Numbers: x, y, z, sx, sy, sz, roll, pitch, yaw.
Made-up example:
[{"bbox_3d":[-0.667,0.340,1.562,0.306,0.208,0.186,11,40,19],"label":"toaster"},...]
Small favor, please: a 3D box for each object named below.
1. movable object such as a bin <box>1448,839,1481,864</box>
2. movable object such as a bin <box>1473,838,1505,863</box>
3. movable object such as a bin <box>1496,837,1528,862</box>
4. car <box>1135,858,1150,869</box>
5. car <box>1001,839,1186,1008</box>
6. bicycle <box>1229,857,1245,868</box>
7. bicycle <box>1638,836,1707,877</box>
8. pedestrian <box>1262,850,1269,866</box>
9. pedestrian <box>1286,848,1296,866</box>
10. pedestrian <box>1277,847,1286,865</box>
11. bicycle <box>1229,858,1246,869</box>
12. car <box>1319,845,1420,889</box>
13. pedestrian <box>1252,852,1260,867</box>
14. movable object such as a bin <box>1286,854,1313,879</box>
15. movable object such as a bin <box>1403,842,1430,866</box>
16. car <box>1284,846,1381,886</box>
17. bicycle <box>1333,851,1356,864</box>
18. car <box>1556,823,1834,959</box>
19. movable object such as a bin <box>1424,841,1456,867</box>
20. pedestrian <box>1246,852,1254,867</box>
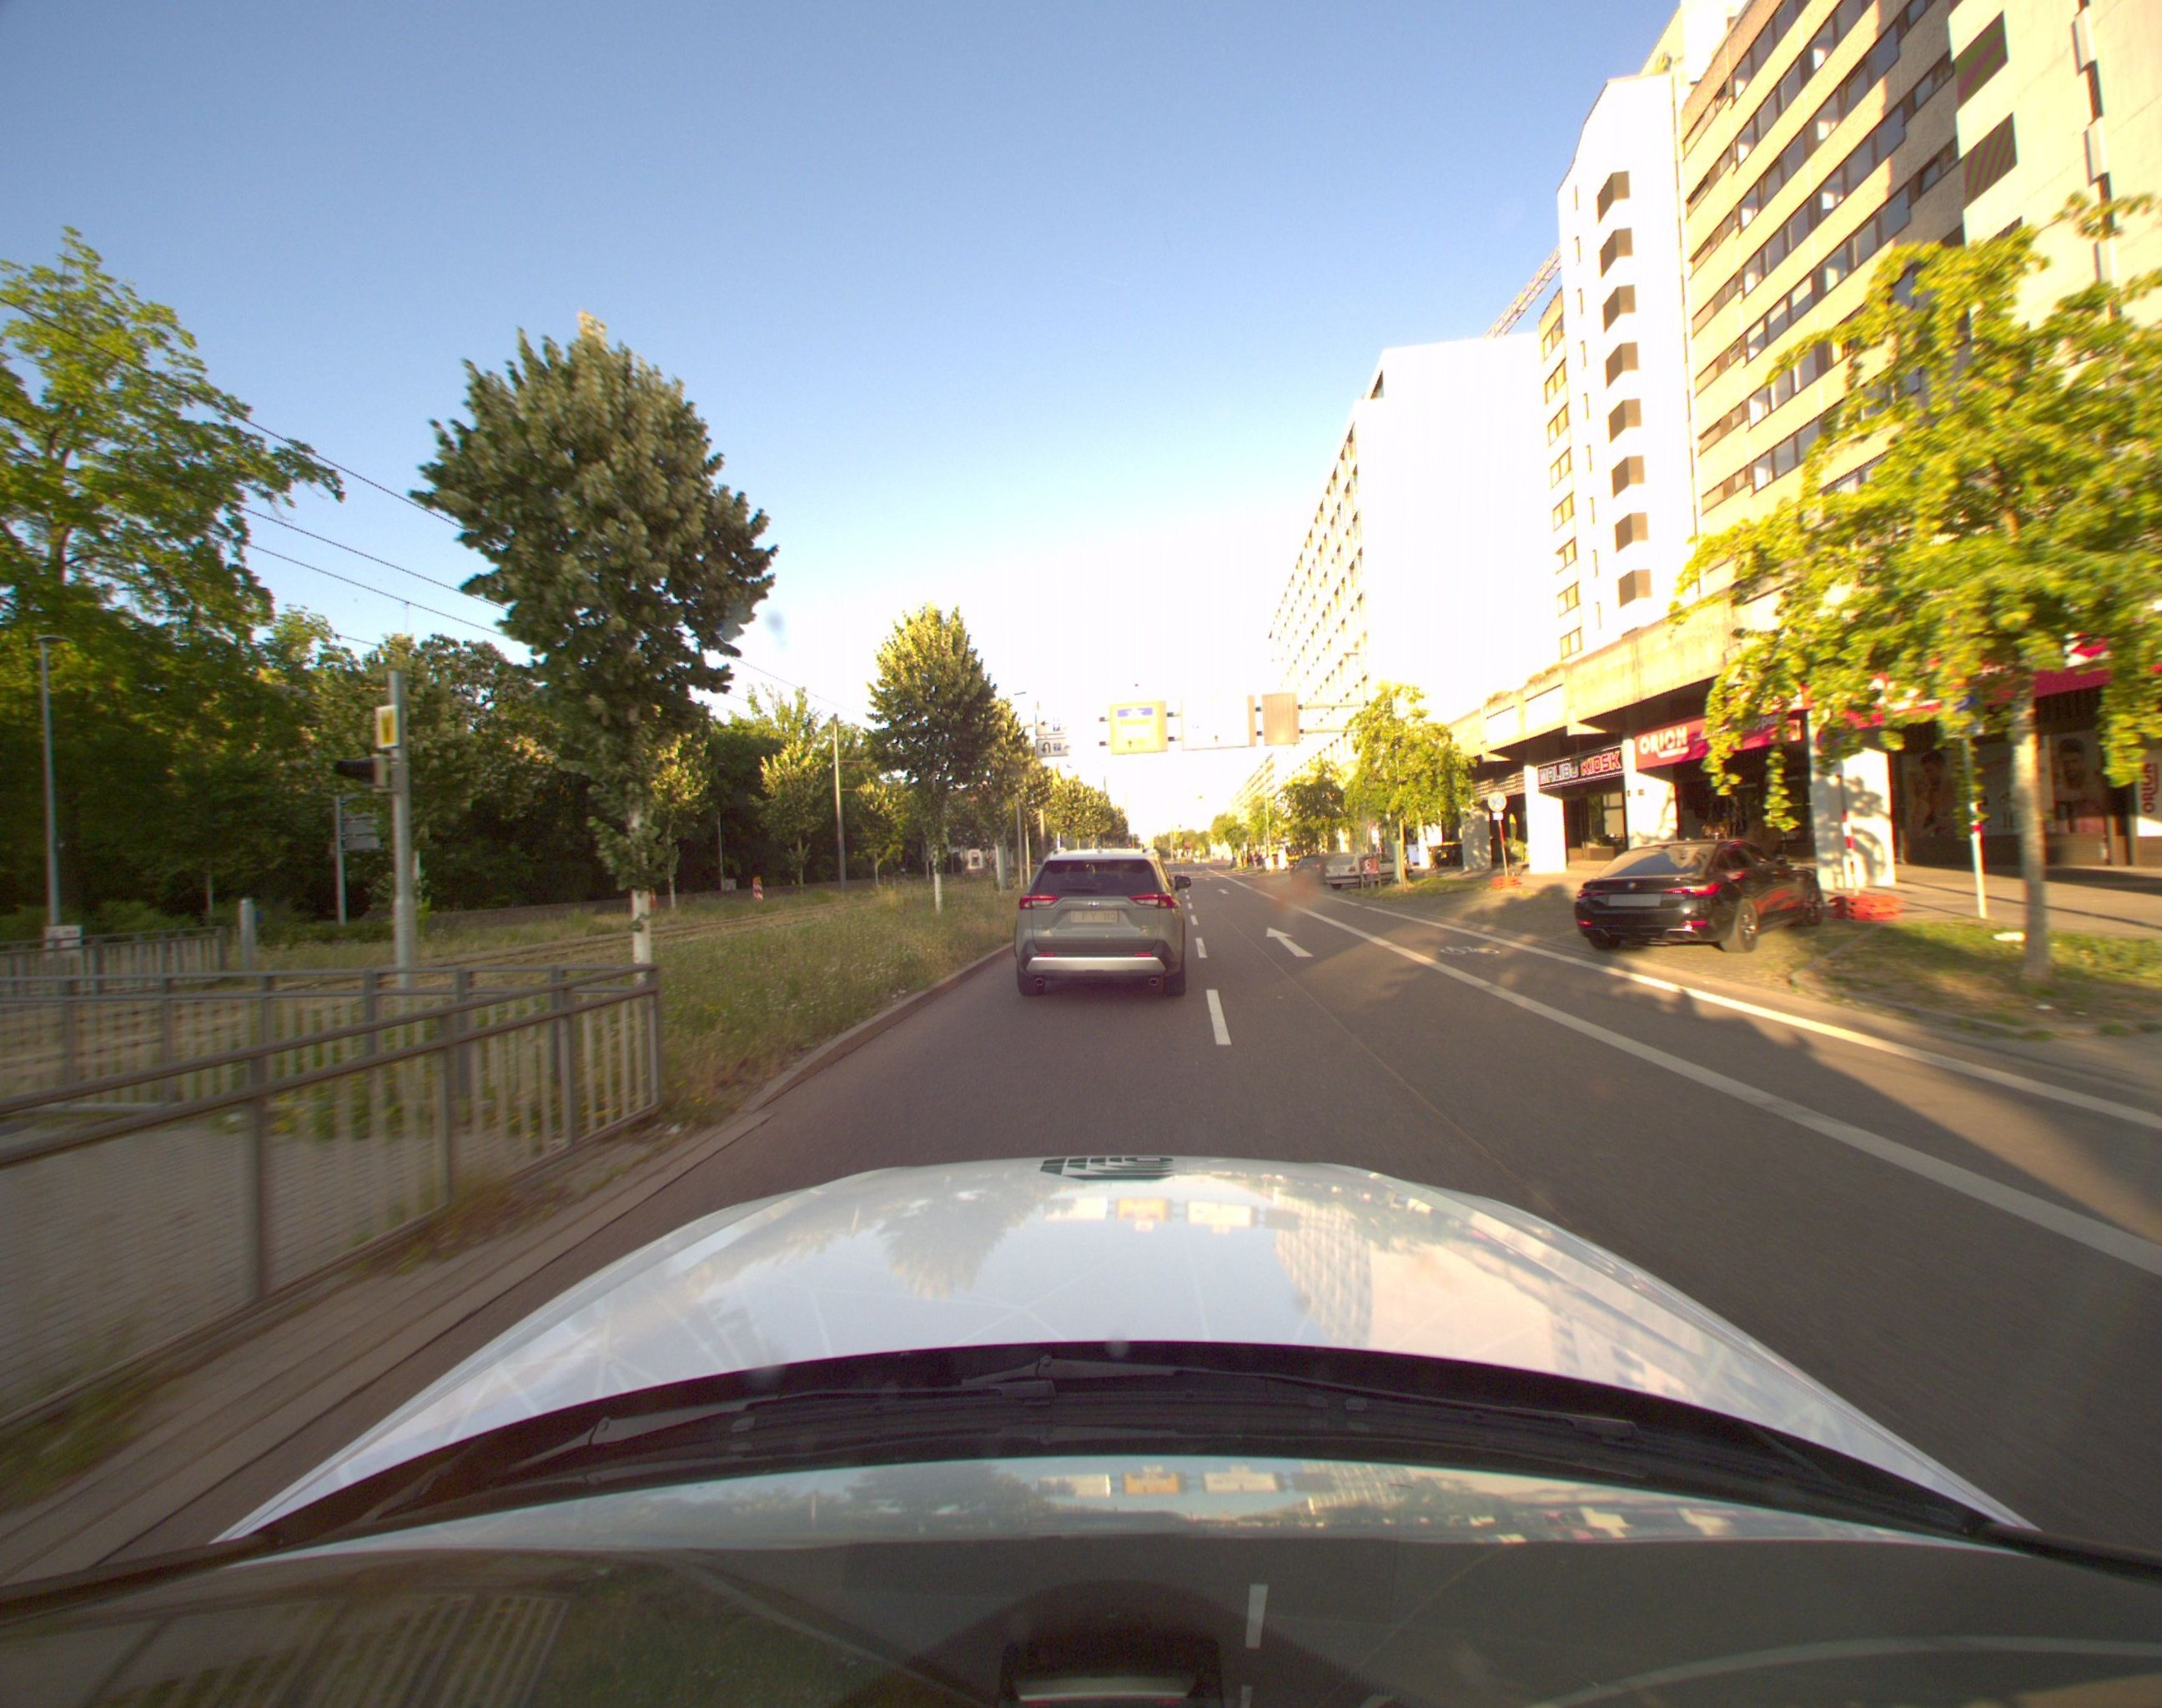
[{"bbox_3d":[21.247,-0.116,45.138,1.176,1.299,1.306,-3,-1,5],"label":"movable object such as a bin"},{"bbox_3d":[22.607,-0.210,45.117,1.176,1.313,1.126,-3,-1,5],"label":"movable object such as a bin"},{"bbox_3d":[23.829,-0.262,45.012,1.176,1.313,1.089,-3,-1,5],"label":"movable object such as a bin"},{"bbox_3d":[7.762,1.164,101.943,1.665,1.352,4.007,-1,0,7],"label":"car"},{"bbox_3d":[0.360,0.703,10.261,1.824,1.672,4.290,-1,0,6],"label":"car"},{"bbox_3d":[19.370,1.106,101.033,1.787,1.193,0.568,-5,-1,1],"label":"bicycle"},{"bbox_3d":[17.193,0.079,23.683,1.565,1.048,0.434,-5,-1,5],"label":"bicycle"},{"bbox_3d":[20.406,0.438,90.180,0.572,1.786,0.832,-5,-2,14],"label":"pedestrian"},{"bbox_3d":[21.536,0.298,83.534,0.738,1.849,0.944,-6,-2,15],"label":"pedestrian"},{"bbox_3d":[21.778,0.230,88.386,0.818,1.888,0.869,-5,-2,15],"label":"pedestrian"},{"bbox_3d":[19.085,1.104,99.229,1.837,1.182,0.609,-5,-1,6],"label":"bicycle"},{"bbox_3d":[11.902,0.534,33.535,4.005,1.416,1.733,-4,-1,-32],"label":"car"},{"bbox_3d":[20.634,0.610,95.867,0.681,1.735,0.762,-5,-1,6],"label":"pedestrian"},{"bbox_3d":[12.142,0.687,45.313,1.081,1.301,1.361,-5,-1,0],"label":"movable object such as a bin"},{"bbox_3d":[20.419,-0.007,49.572,1.099,1.329,1.285,-5,-1,5],"label":"movable object such as a bin"},{"bbox_3d":[12.381,0.578,39.984,4.688,1.508,1.919,-4,-1,-33],"label":"car"},{"bbox_3d":[22.309,0.289,68.847,1.692,0.986,0.551,-5,-1,3],"label":"bicycle"},{"bbox_3d":[9.017,0.439,11.834,4.626,1.453,1.794,-4,0,-35],"label":"car"},{"bbox_3d":[19.881,-0.019,45.166,1.176,1.323,1.268,-6,-1,5],"label":"movable object such as a bin"},{"bbox_3d":[19.874,0.689,95.851,0.650,1.702,0.690,-5,-1,6],"label":"pedestrian"}]
